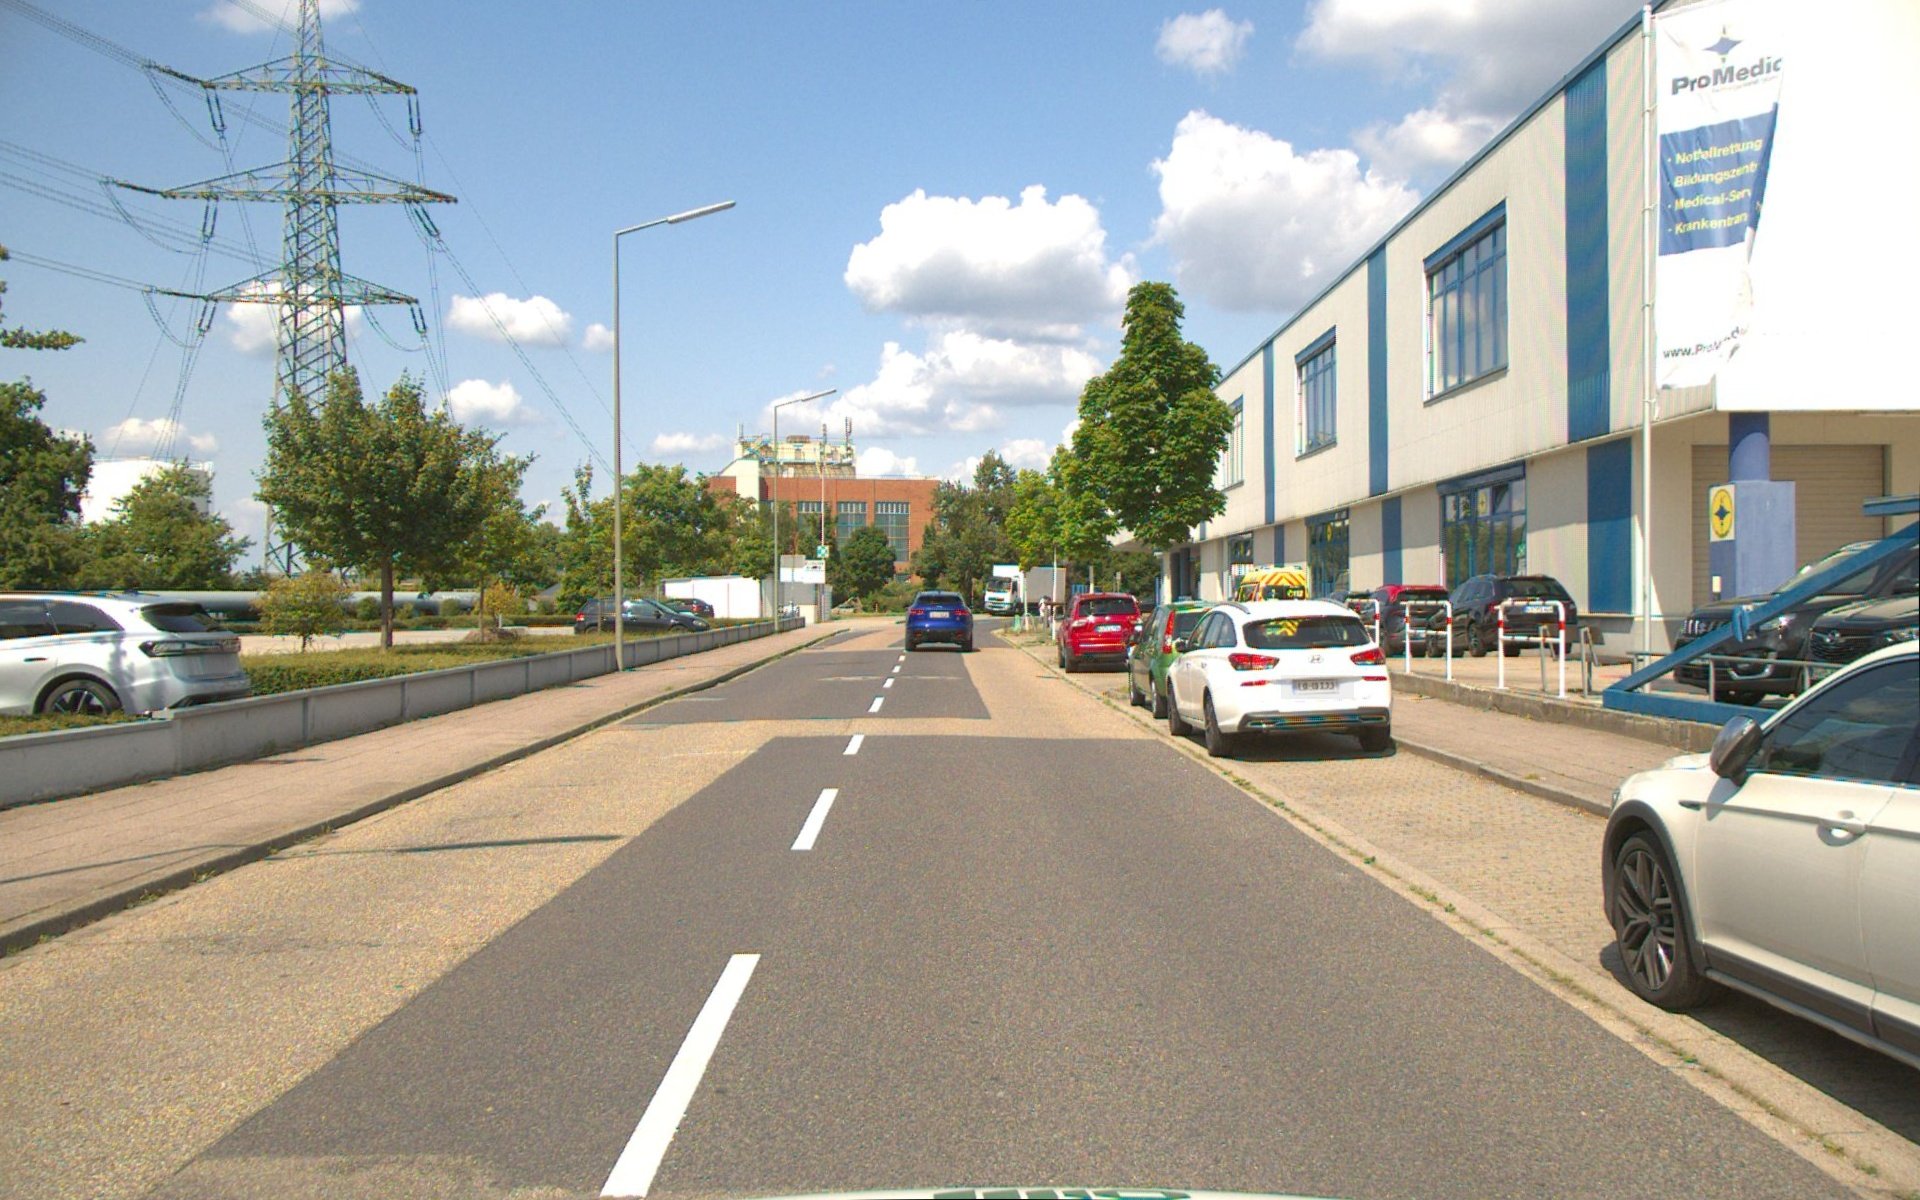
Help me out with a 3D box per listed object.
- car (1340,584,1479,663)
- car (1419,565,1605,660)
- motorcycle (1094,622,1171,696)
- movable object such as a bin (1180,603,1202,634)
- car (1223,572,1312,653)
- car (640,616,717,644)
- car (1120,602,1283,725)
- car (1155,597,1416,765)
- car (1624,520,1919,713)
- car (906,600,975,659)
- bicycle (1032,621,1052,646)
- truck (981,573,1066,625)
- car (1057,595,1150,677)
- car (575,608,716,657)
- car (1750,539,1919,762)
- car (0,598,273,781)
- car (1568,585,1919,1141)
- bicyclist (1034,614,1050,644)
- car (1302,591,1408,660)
[{"bbox_3d":[10.126,0.553,37.598,1.953,1.686,4.289,0,-2,-1],"label":"car"},{"bbox_3d":[9.973,0.300,30.287,1.790,1.539,4.639,0,-3,-1],"label":"car"},{"bbox_3d":[3.080,1.020,29.366,0.838,1.221,2.364,-1,0,19],"label":"motorcycle"},{"bbox_3d":[10.826,0.859,77.462,0.788,1.438,1.357,1,-1,-2],"label":"movable object such as a bin"},{"bbox_3d":[9.949,0.407,53.883,1.884,2.507,5.258,0,-1,-1],"label":"car"},{"bbox_3d":[-14.993,1.593,88.126,3.917,1.402,1.798,-1,0,34],"label":"car"},{"bbox_3d":[3.255,0.823,22.948,1.634,1.547,3.994,0,-1,-1],"label":"car"},{"bbox_3d":[3.274,0.770,17.511,1.798,1.547,4.460,0,-1,-1],"label":"car"},{"bbox_3d":[8.787,0.141,15.900,4.002,1.715,1.999,0,0,-3],"label":"car"},{"bbox_3d":[-0.587,0.836,47.708,1.871,1.621,4.700,0,-1,-1],"label":"car"},{"bbox_3d":[3.947,1.603,79.449,0.652,1.128,2.169,-1,0,10],"label":"bicycle"},{"bbox_3d":[4.789,-0.127,122.526,2.277,3.630,9.351,1,1,29],"label":"truck"},{"bbox_3d":[3.079,0.765,36.328,1.719,1.679,4.678,0,-1,1],"label":"car"},{"bbox_3d":[-9.473,0.977,50.028,3.906,1.400,1.803,0,0,-1],"label":"car"},{"bbox_3d":[9.077,0.371,13.604,4.141,1.676,2.147,0,0,-3],"label":"car"},{"bbox_3d":[-9.481,0.877,16.171,4.662,1.630,1.998,-2,0,-5],"label":"car"},{"bbox_3d":[3.584,0.739,4.855,1.830,1.547,4.596,0,-1,-1],"label":"car"},{"bbox_3d":[3.951,1.384,79.491,0.649,1.422,0.859,-1,0,11],"label":"bicyclist"},{"bbox_3d":[10.189,0.664,42.940,1.679,1.681,4.214,0,-1,-1],"label":"car"}]
